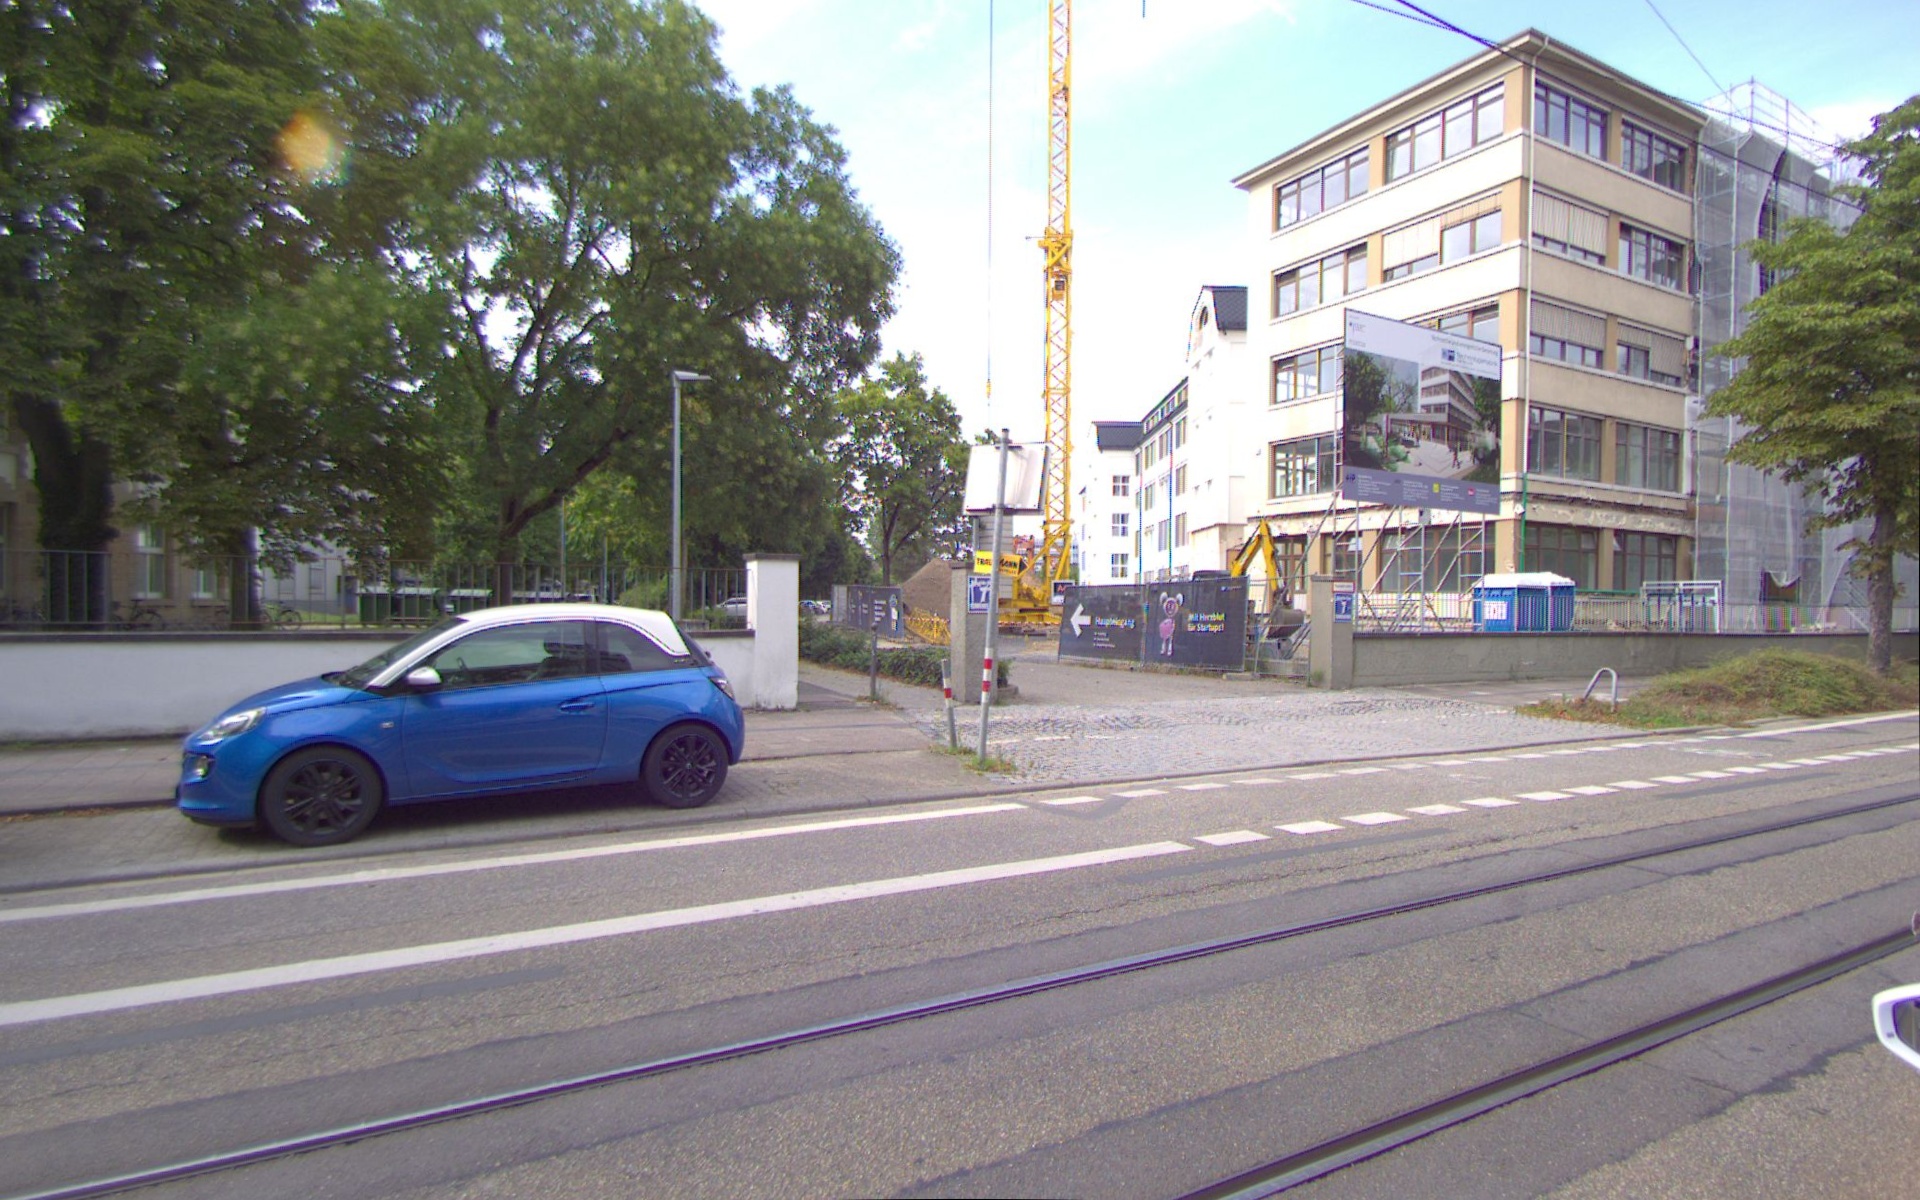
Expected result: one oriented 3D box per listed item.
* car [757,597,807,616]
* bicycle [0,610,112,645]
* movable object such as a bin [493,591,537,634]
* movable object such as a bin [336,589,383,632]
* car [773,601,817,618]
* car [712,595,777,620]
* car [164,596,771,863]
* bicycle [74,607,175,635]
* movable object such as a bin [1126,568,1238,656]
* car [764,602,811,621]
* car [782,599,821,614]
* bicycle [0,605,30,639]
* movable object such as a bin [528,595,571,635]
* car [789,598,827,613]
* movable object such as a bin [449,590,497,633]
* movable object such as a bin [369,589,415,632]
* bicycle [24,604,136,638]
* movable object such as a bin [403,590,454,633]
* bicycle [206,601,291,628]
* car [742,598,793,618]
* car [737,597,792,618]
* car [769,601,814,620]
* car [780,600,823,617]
[{"bbox_3d":[-14.574,0.553,82.459,3.927,1.518,1.911,1,0,-9],"label":"car"},{"bbox_3d":[-21.795,0.655,24.186,2.010,0.783,0.713,1,1,-10],"label":"bicycle"},{"bbox_3d":[-14.857,0.414,33.560,1.073,1.393,0.861,1,1,-3],"label":"movable object such as a bin"},{"bbox_3d":[-19.990,0.324,33.449,1.001,1.393,0.970,1,1,-3],"label":"movable object such as a bin"},{"bbox_3d":[-15.149,0.866,92.348,3.927,1.518,1.911,1,0,-9],"label":"car"},{"bbox_3d":[-13.808,0.495,64.605,3.927,1.518,1.911,1,0,-9],"label":"car"},{"bbox_3d":[-3.421,0.766,7.433,3.634,1.507,1.685,1,1,-30],"label":"car"},{"bbox_3d":[-22.302,0.559,26.875,2.028,0.718,0.707,0,1,-37],"label":"bicycle"},{"bbox_3d":[5.562,0.286,25.259,1.935,2.095,1.979,1,0,-27],"label":"movable object such as a bin"},{"bbox_3d":[-14.717,0.958,85.840,3.927,1.518,1.911,1,0,-9],"label":"car"},{"bbox_3d":[-16.424,0.671,104.378,3.927,1.518,1.911,1,0,-9],"label":"car"},{"bbox_3d":[-21.717,0.463,21.916,2.010,0.718,0.713,1,1,-10],"label":"bicycle"},{"bbox_3d":[-13.622,0.491,33.339,1.073,1.290,0.861,1,1,-3],"label":"movable object such as a bin"},{"bbox_3d":[-16.406,0.623,108.495,3.927,1.518,1.911,1,0,-9],"label":"car"},{"bbox_3d":[-16.278,0.388,33.610,1.180,1.393,0.861,1,1,-3],"label":"movable object such as a bin"},{"bbox_3d":[-18.921,0.343,33.483,1.001,1.393,0.970,1,1,-3],"label":"movable object such as a bin"},{"bbox_3d":[-21.984,0.523,25.126,2.010,0.783,0.713,1,1,-10],"label":"bicycle"},{"bbox_3d":[-17.699,0.365,33.483,1.180,1.393,0.970,1,1,-3],"label":"movable object such as a bin"},{"bbox_3d":[-22.014,0.444,31.106,2.010,0.783,0.713,1,1,-10],"label":"bicycle"},{"bbox_3d":[-15.155,0.592,79.261,3.927,1.518,1.911,1,0,-9],"label":"car"},{"bbox_3d":[-14.762,0.566,75.975,3.927,1.518,1.911,1,0,-9],"label":"car"},{"bbox_3d":[-14.848,0.920,88.643,3.927,1.518,1.911,1,0,-9],"label":"car"},{"bbox_3d":[-14.949,0.827,95.014,3.927,1.518,1.911,1,0,-9],"label":"car"}]
